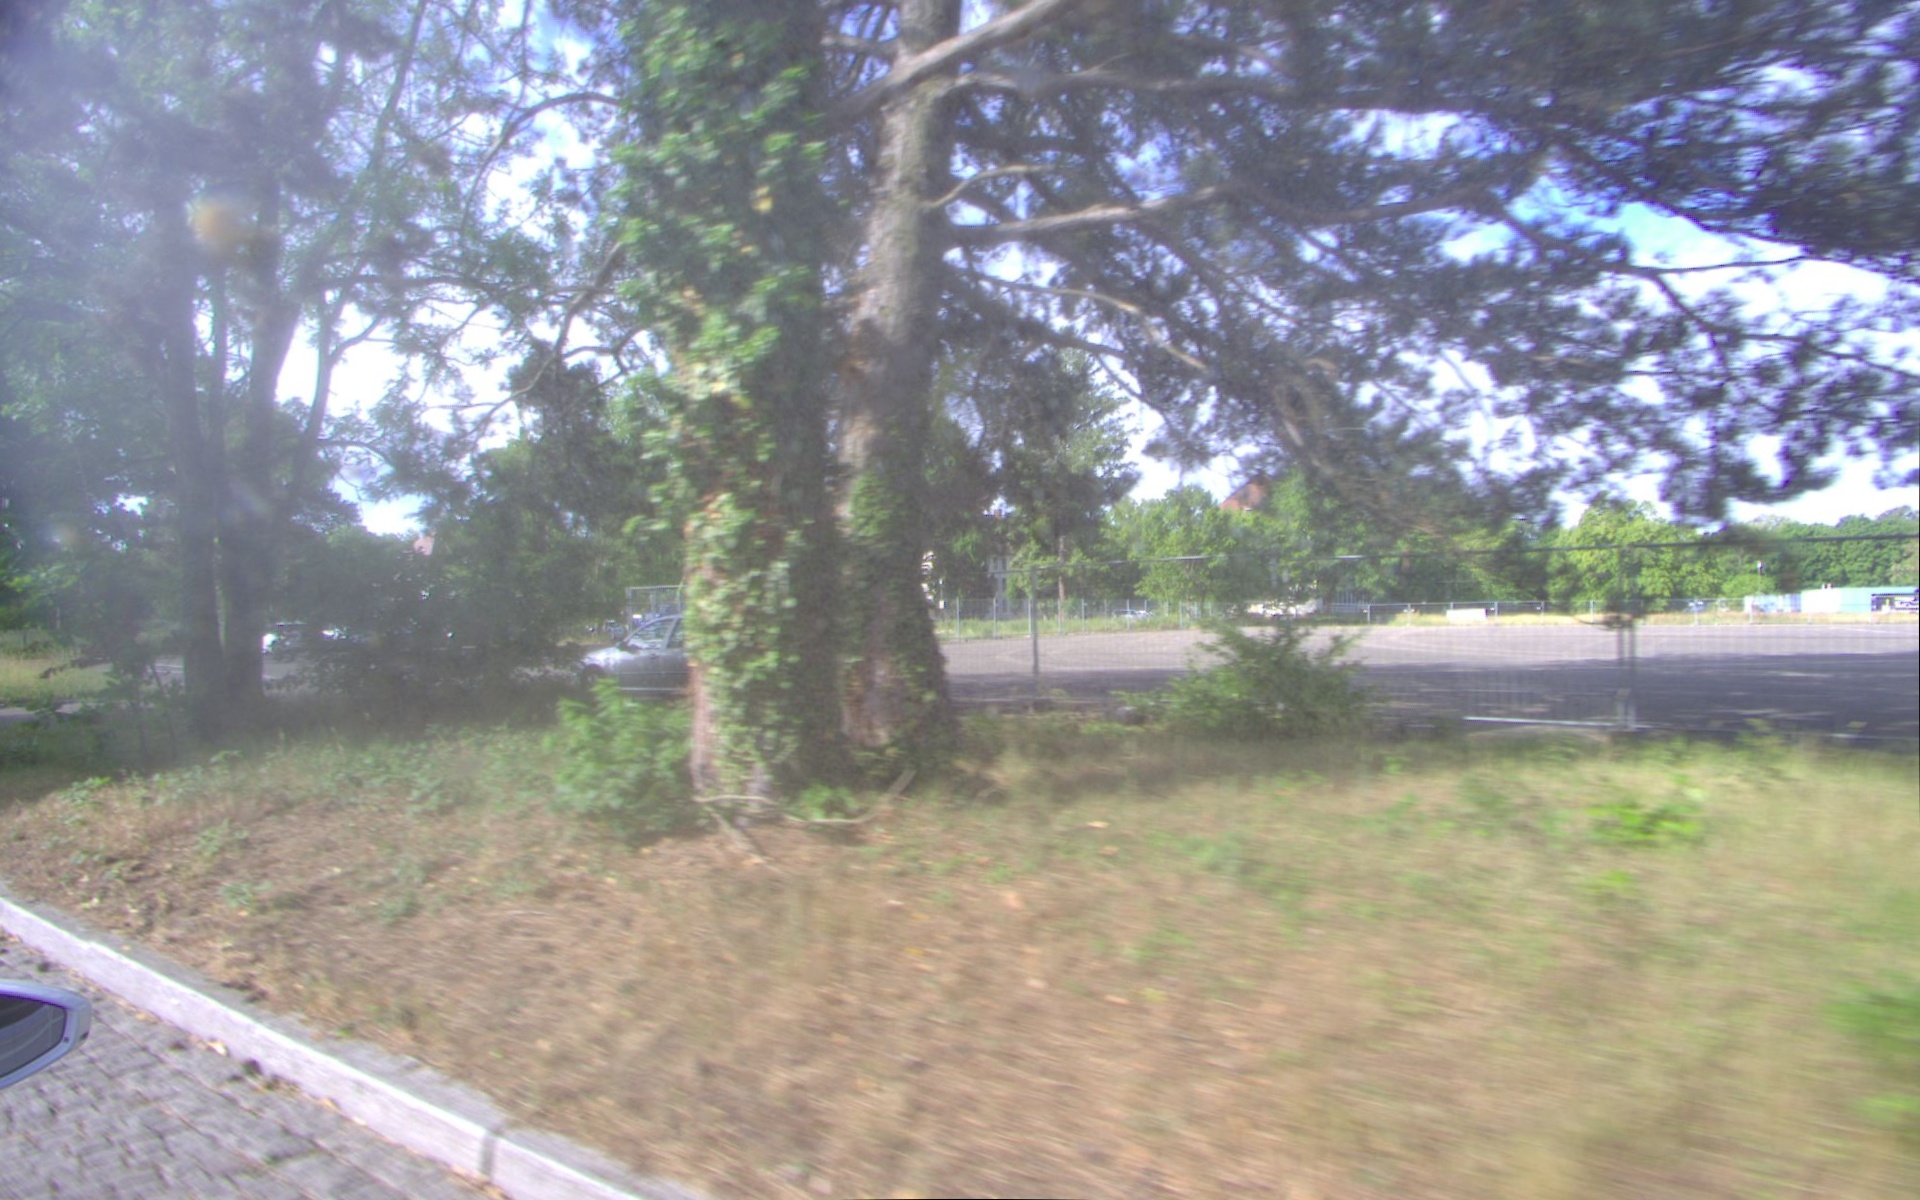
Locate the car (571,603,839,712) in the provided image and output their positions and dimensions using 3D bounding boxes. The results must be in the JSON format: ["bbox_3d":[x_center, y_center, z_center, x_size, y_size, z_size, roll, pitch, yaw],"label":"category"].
[{"bbox_3d":[-3.960,0.825,15.427,3.940,1.487,1.665,-1,0,29],"label":"car"}]

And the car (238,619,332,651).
[{"bbox_3d":[-29.721,1.512,44.086,4.266,1.329,1.729,-1,0,30],"label":"car"}]
